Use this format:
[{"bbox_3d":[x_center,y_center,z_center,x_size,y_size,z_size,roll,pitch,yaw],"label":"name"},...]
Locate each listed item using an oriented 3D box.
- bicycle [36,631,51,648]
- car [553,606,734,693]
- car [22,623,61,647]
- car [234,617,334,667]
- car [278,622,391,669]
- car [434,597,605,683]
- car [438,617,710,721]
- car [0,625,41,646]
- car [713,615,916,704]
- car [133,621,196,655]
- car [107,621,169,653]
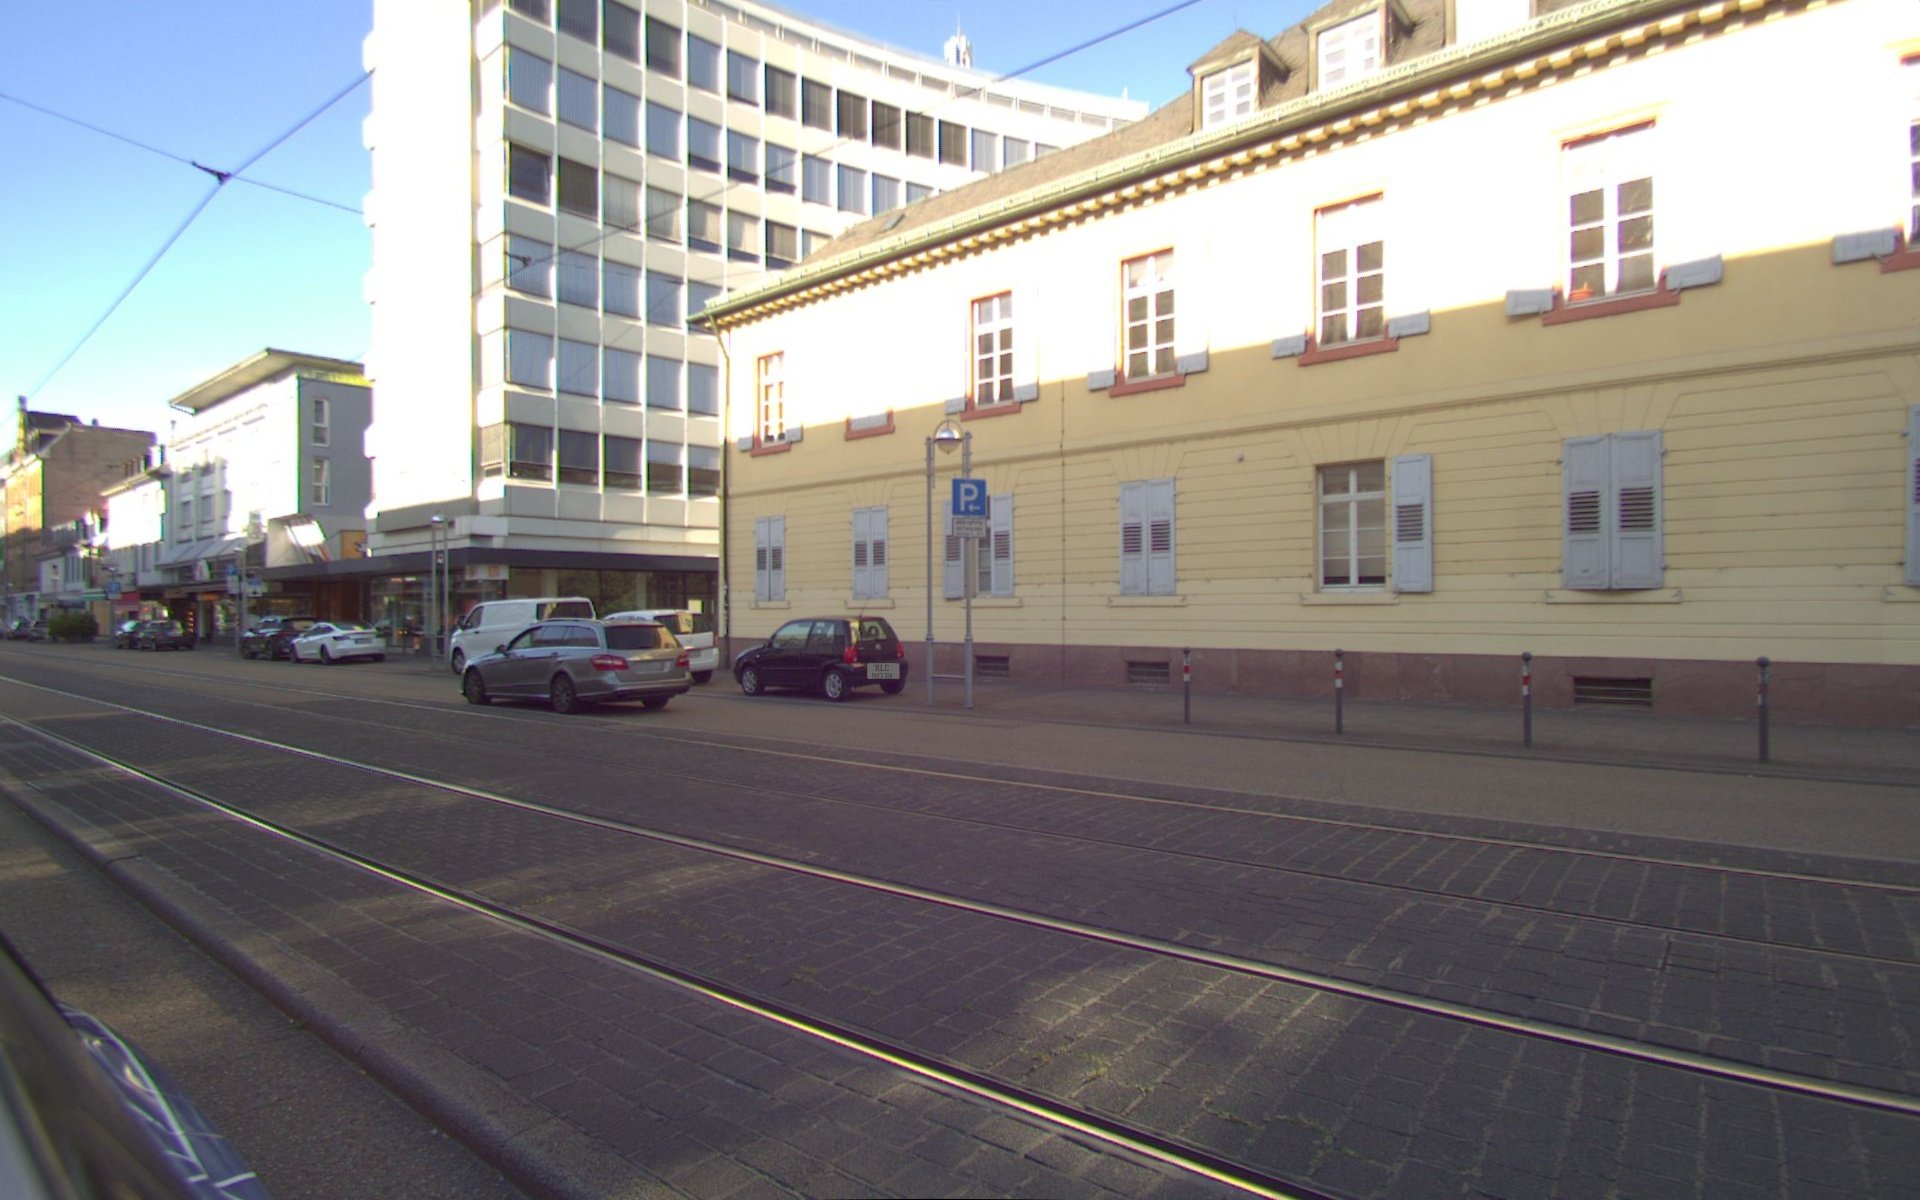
[{"bbox_3d":[-60.816,2.604,67.167,1.715,1.098,0.513,-1,1,41],"label":"bicycle"},{"bbox_3d":[-7.197,1.033,22.747,4.648,1.698,1.788,-1,1,43],"label":"car"},{"bbox_3d":[-65.773,2.486,72.449,2.889,1.616,1.680,-1,1,40],"label":"car"},{"bbox_3d":[-25.684,1.529,38.397,4.652,1.691,1.958,-1,1,41],"label":"car"},{"bbox_3d":[-21.708,1.537,35.043,4.651,1.431,1.870,-1,1,39],"label":"car"},{"bbox_3d":[-11.510,0.966,26.291,5.092,1.990,1.974,-1,1,40],"label":"car"},{"bbox_3d":[-6.540,1.074,16.929,4.920,1.507,1.863,-1,-3,36],"label":"car"},{"bbox_3d":[-72.908,2.717,78.490,4.759,1.525,1.799,-1,0,40],"label":"car"},{"bbox_3d":[-2.722,1.023,18.582,3.717,1.411,1.598,-1,1,40],"label":"car"},{"bbox_3d":[-39.137,1.851,49.766,3.584,1.535,1.586,-1,1,38],"label":"car"},{"bbox_3d":[-43.826,1.932,53.952,4.849,1.535,1.719,-1,1,41],"label":"car"}]
